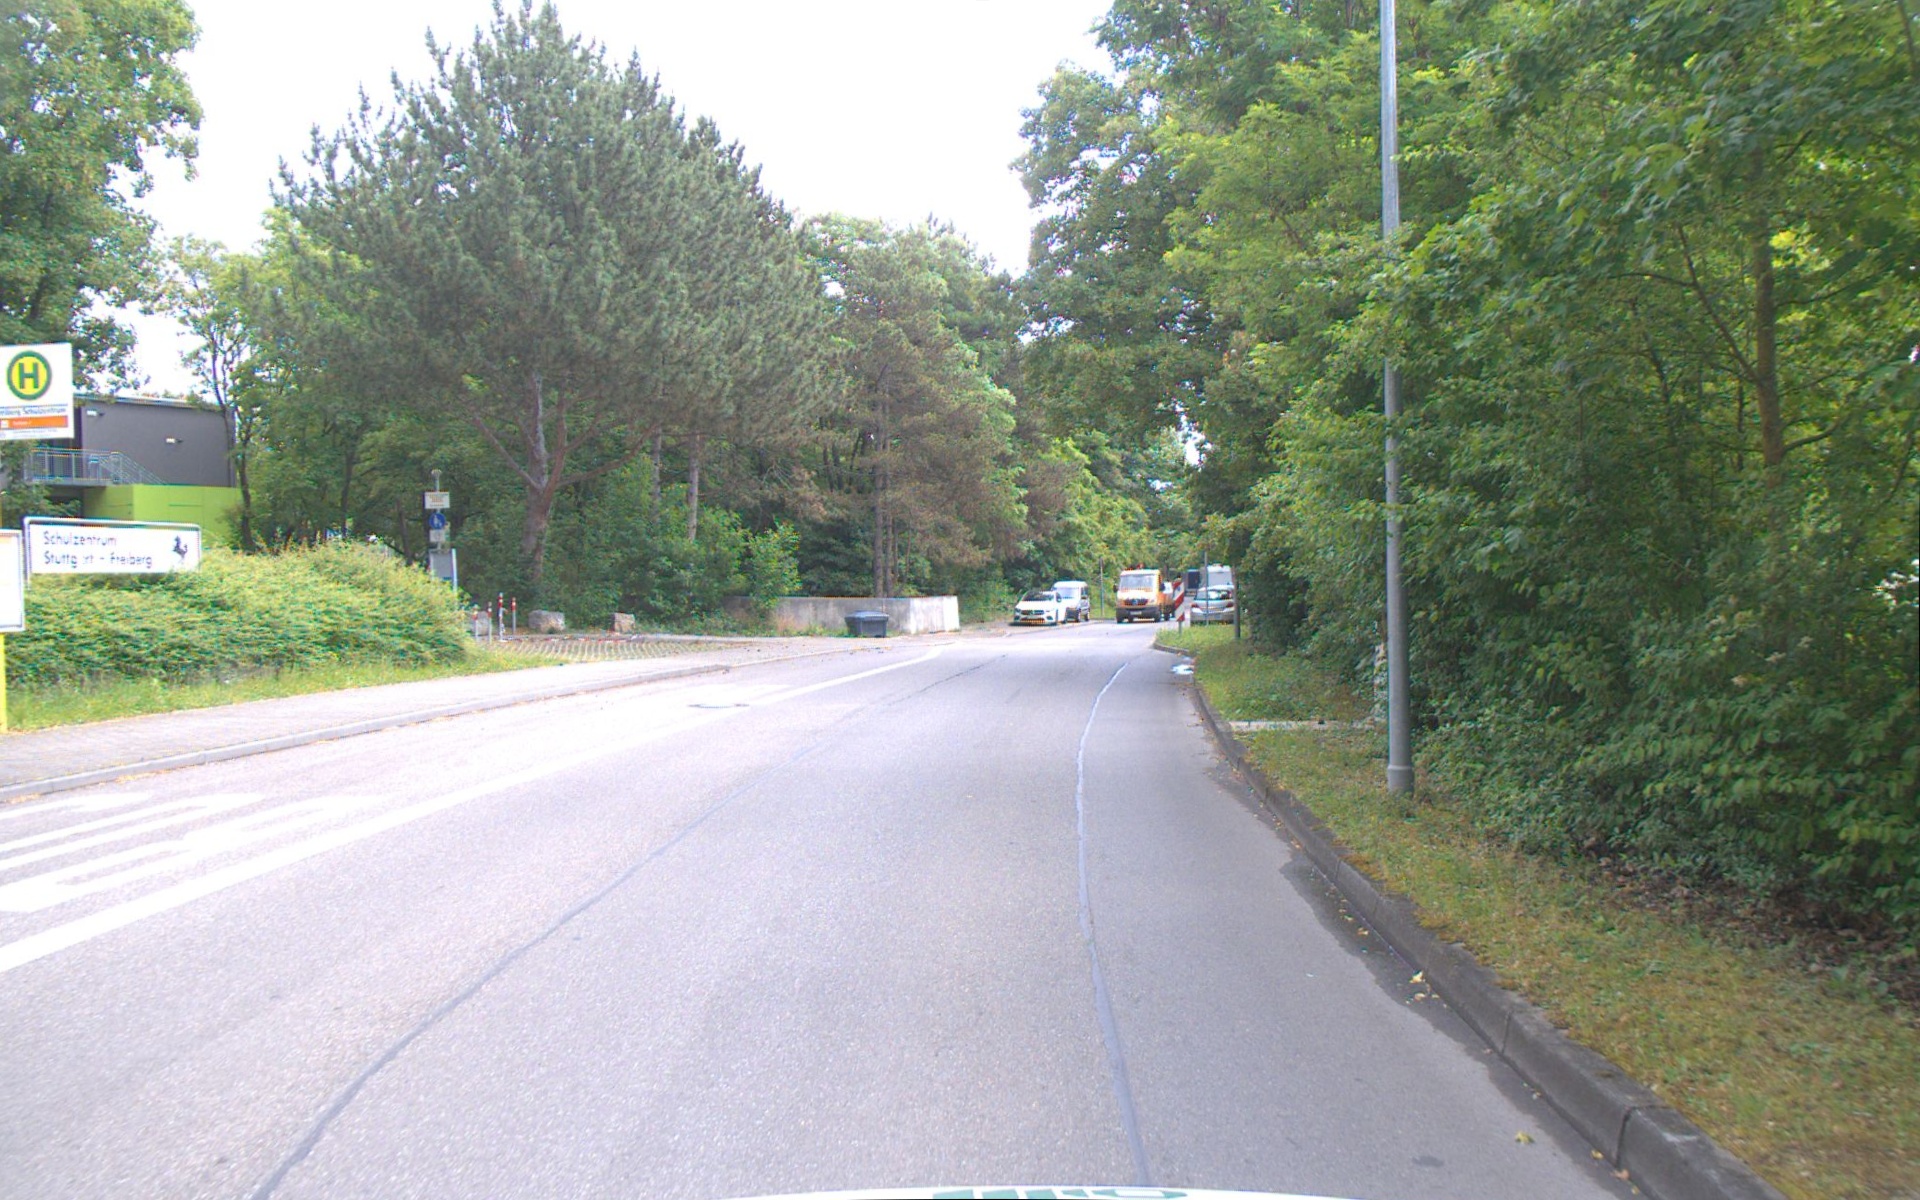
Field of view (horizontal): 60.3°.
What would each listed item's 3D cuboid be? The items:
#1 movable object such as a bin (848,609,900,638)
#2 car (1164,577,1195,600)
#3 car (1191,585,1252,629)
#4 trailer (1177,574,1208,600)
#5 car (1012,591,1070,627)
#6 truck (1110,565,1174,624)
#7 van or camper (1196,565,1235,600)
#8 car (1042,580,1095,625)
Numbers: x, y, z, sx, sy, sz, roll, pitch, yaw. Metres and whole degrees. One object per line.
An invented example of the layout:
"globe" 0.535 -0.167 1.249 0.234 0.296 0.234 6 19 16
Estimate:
"movable object such as a bin" -2.378 0.653 45.585 1.129 0.773 1.041 1 -1 -25
"car" 21.905 -1.194 165.204 1.957 2.060 3.994 -4 2 -8
"car" 9.311 0.241 58.631 1.754 1.435 4.062 -2 0 14
"trailer" 22.464 -1.217 159.736 1.956 2.440 3.994 -2 0 -7
"car" 3.416 0.359 68.981 1.767 1.427 4.376 0 1 12
"truck" 8.257 -0.273 74.564 2.272 2.513 6.026 1 1 12
"van or camper" 22.902 -1.561 148.562 2.431 2.926 6.890 -2 0 1
"car" 4.977 0.074 75.597 1.684 1.955 4.108 1 1 14
